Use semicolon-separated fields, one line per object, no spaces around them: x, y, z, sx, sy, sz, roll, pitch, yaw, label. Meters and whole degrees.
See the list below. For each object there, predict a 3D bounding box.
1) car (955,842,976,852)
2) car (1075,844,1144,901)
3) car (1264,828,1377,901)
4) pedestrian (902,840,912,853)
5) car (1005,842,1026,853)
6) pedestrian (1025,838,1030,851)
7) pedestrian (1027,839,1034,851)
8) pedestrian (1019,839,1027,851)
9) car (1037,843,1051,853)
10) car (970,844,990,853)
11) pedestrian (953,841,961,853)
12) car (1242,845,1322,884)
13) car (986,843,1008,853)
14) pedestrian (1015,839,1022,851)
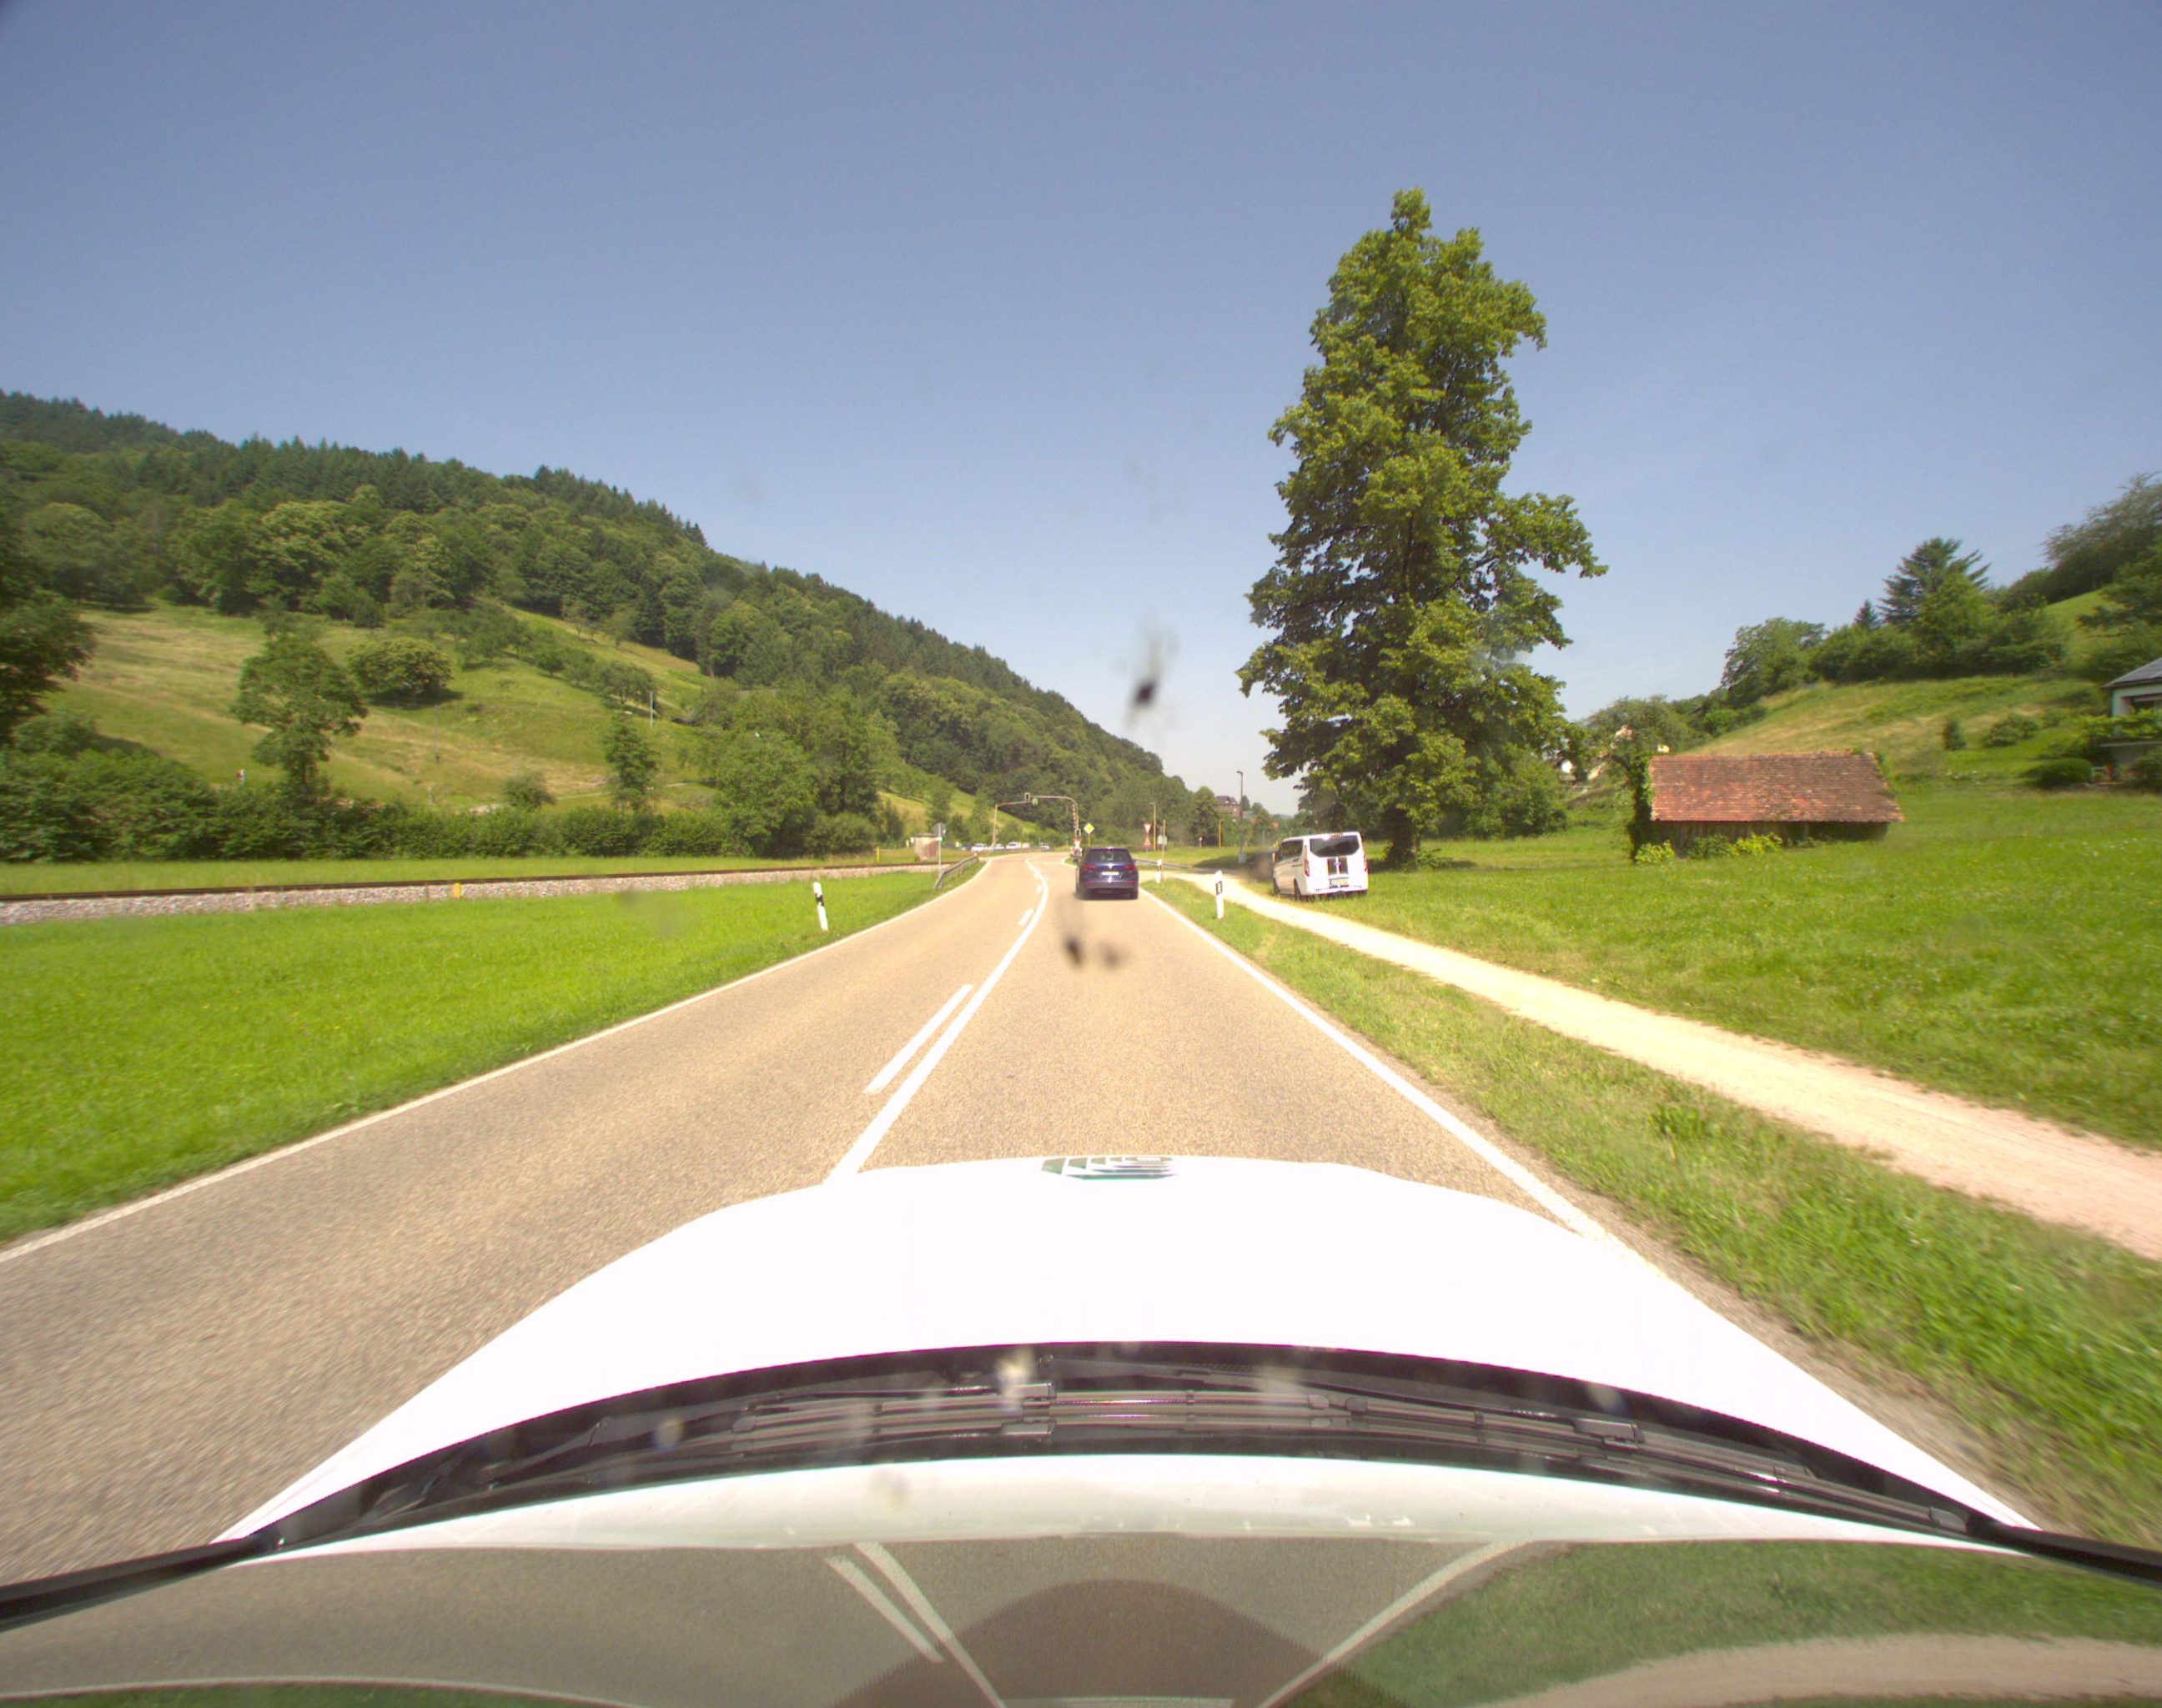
-18.513;-1.125;130.720;1.982;1.500;4.533;2;1;9;car
0.831;0.530;26.035;1.848;1.649;4.136;-1;0;-3;car
7.202;0.261;25.085;1.992;1.848;4.869;-5;0;1;car
-27.075;-1.186;126.535;1.115;1.969;0.867;-1;0;26;pedestrian
-10.497;-1.029;130.189;1.857;1.782;4.791;0;1;14;car
-8.078;-1.367;122.554;0.658;1.954;0.533;-1;0;1;pedestrian
-7.655;-1.386;123.069;0.641;1.858;0.775;-1;0;44;pedestrian
-8.760;-1.293;122.990;0.761;1.796;0.799;-1;0;38;pedestrian
-5.814;-0.950;127.680;1.819;1.500;4.279;-1;0;1;car
-16.088;-0.901;130.074;1.982;1.500;4.533;-1;0;9;car
-18.935;-1.103;124.246;0.949;1.794;1.002;-1;1;7;pedestrian
8.240;0.450;33.760;1.675;1.457;3.699;-3;-1;-13;car
-13.388;-0.947;130.064;1.981;1.641;4.917;-1;0;11;car
-9.407;-1.311;121.910;0.781;1.842;0.702;-1;0;22;pedestrian
